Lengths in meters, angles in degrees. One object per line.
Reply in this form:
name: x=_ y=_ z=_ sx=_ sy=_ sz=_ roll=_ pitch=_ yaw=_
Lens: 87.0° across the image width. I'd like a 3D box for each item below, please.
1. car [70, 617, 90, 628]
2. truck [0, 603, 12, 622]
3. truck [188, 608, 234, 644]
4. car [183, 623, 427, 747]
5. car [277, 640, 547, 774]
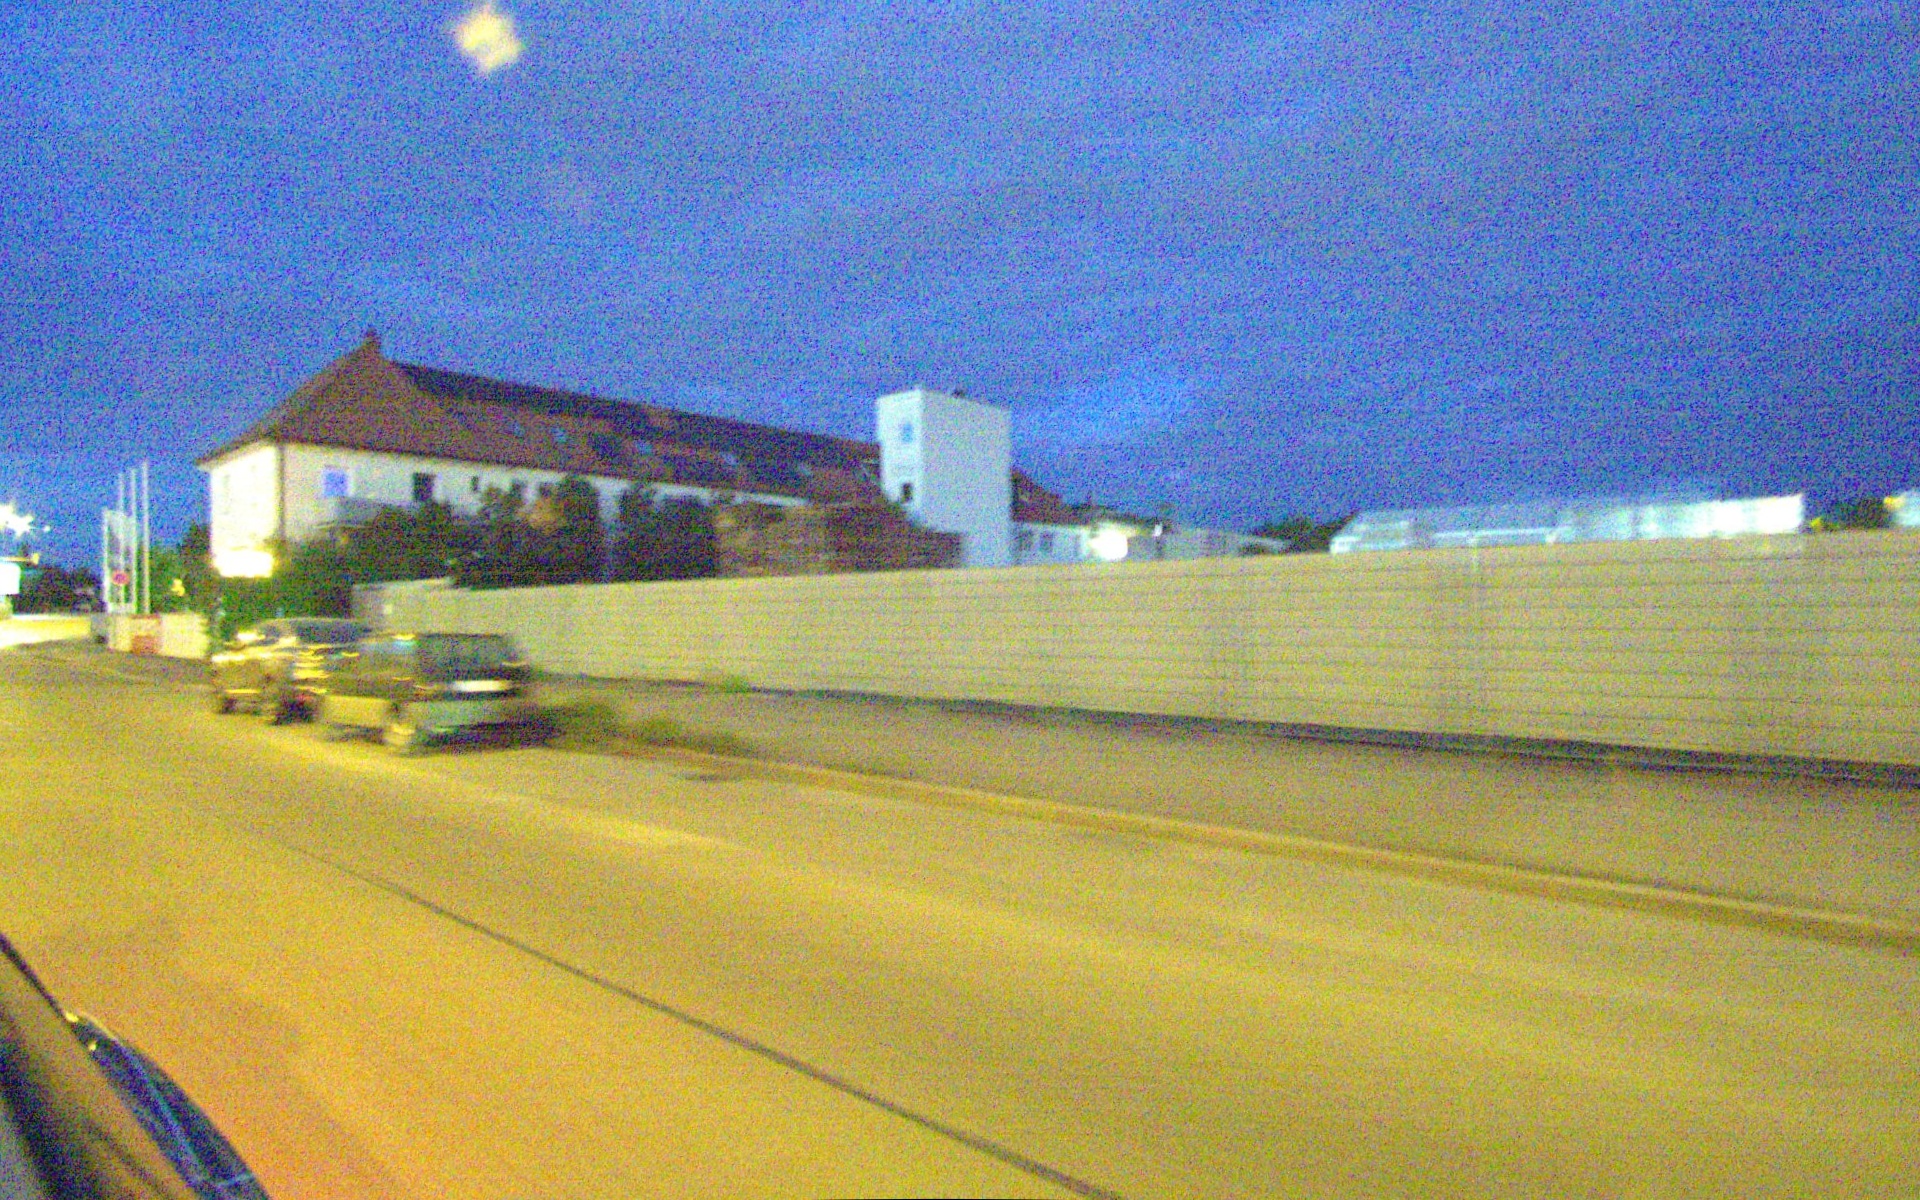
car: x=-127.916 y=3.235 z=147.111 sx=1.909 sy=1.564 sz=4.008 roll=0 pitch=0 yaw=-38
truck: x=-117.349 y=1.521 z=122.641 sx=2.345 sy=2.301 sz=7.764 roll=0 pitch=0 yaw=-34
truck: x=-42.131 y=1.411 z=56.877 sx=1.968 sy=1.914 sz=5.328 roll=0 pitch=0 yaw=-38
car: x=-10.656 y=1.231 z=16.326 sx=4.769 sy=1.649 sz=1.974 roll=-1 pitch=0 yaw=39
car: x=-6.976 y=1.224 z=12.729 sx=3.995 sy=1.364 sz=1.586 roll=-1 pitch=-1 yaw=39
